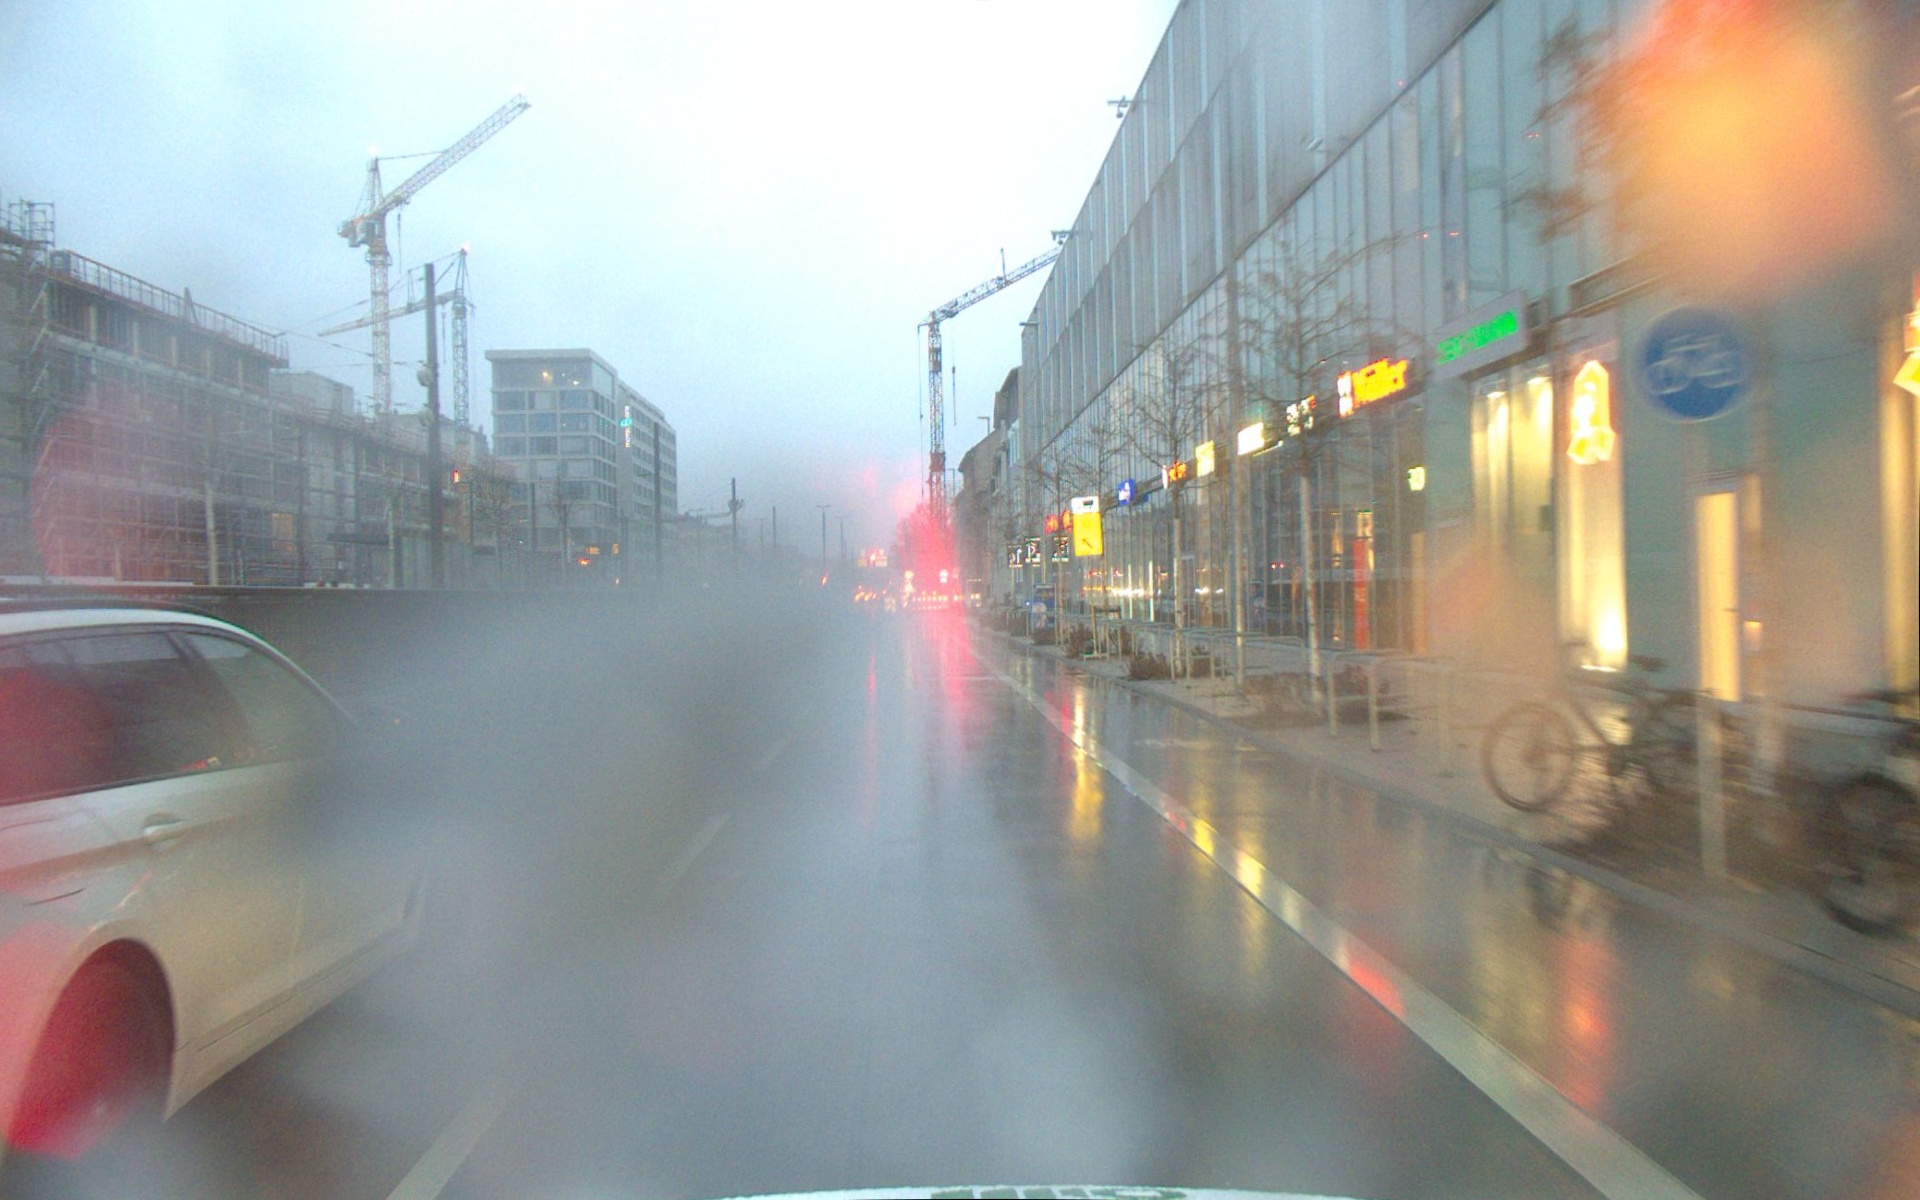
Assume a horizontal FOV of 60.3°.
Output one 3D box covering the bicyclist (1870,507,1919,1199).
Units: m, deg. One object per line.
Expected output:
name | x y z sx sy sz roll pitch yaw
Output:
bicyclist | 2.347 0.558 2.913 0.923 1.488 1.067 0 0 3

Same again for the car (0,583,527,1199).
car | -2.773 0.715 4.846 1.814 1.491 4.945 0 0 -1

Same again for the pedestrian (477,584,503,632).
pedestrian | -15.583 0.269 54.875 0.571 1.577 0.741 0 0 8

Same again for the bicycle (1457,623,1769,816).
bicycle | 4.502 0.805 11.467 1.865 1.195 0.666 -3 0 -3

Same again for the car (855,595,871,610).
car | -11.727 0.297 199.988 1.863 1.670 3.998 0 0 -2

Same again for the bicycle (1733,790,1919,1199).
bicycle | 2.354 0.989 3.024 0.923 1.017 2.241 0 0 3

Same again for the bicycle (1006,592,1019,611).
bicycle | 3.551 0.082 111.642 0.669 1.243 1.904 -4 0 -3

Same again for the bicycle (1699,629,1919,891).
bicycle | 4.809 0.811 8.723 0.662 1.283 1.534 -1 0 -45
